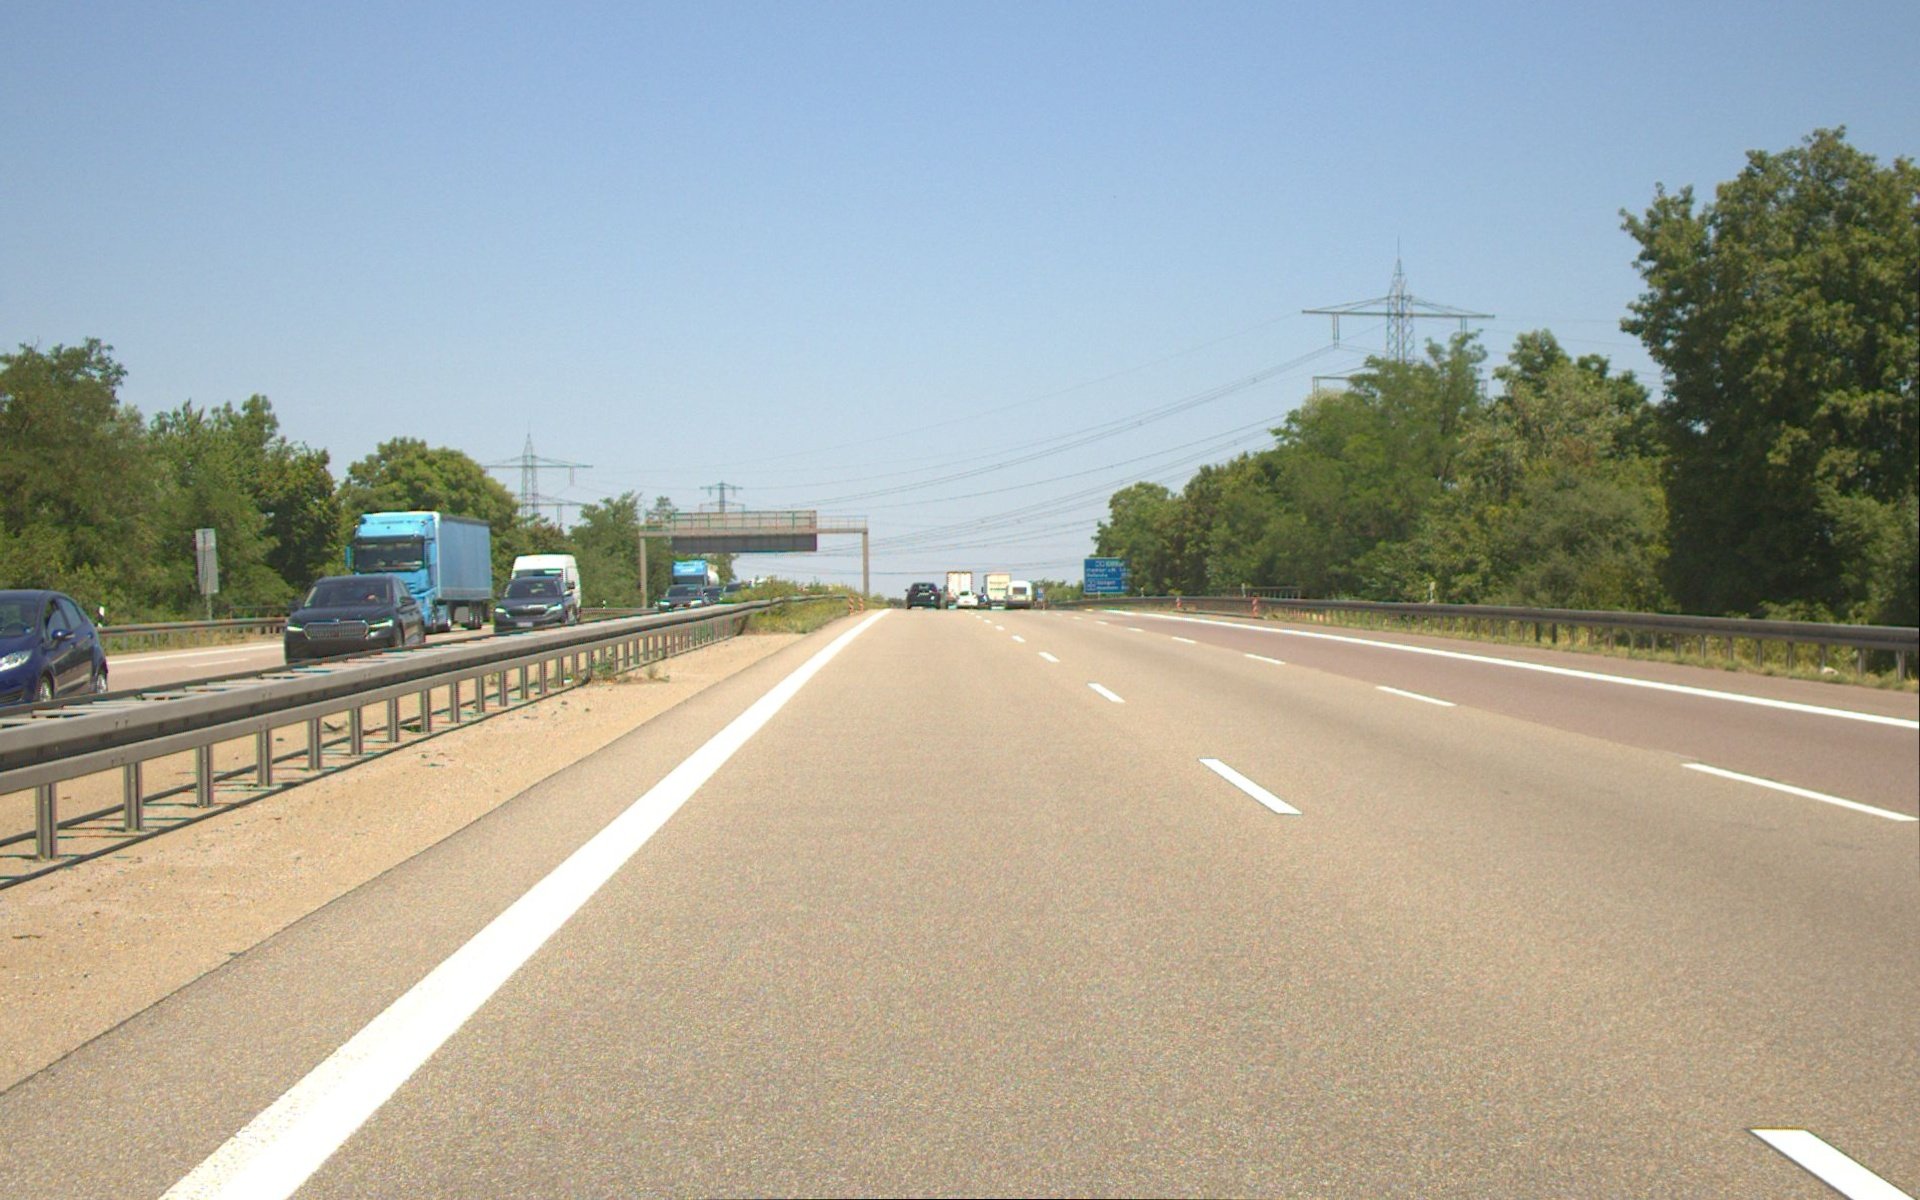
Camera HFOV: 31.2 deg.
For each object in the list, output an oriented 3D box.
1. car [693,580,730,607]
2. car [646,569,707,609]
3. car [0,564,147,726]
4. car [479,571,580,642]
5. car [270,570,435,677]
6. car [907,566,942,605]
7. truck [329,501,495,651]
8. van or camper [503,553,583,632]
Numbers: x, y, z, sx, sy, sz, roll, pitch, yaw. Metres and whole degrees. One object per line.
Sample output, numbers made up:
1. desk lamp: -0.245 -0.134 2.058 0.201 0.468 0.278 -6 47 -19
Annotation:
1. car: -15.281 -0.415 211.535 1.993 1.612 4.000 -1 0 -1
2. car: -11.121 -0.445 134.971 1.993 1.479 4.787 -1 0 0
3. car: -10.264 0.484 36.787 1.993 1.599 4.600 -4 1 -1
4. car: -10.904 0.145 87.385 1.993 1.684 4.408 -2 1 -1
5. car: -10.121 0.358 57.541 1.993 1.684 4.408 -1 1 -1
6. car: -1.876 -0.747 181.383 1.791 2.007 3.887 1 0 0
7. truck: -19.003 -0.855 120.482 3.225 4.704 16.861 -3 1 -1
8. van or camper: -14.526 -0.280 120.157 1.993 2.557 7.036 -3 1 -2
